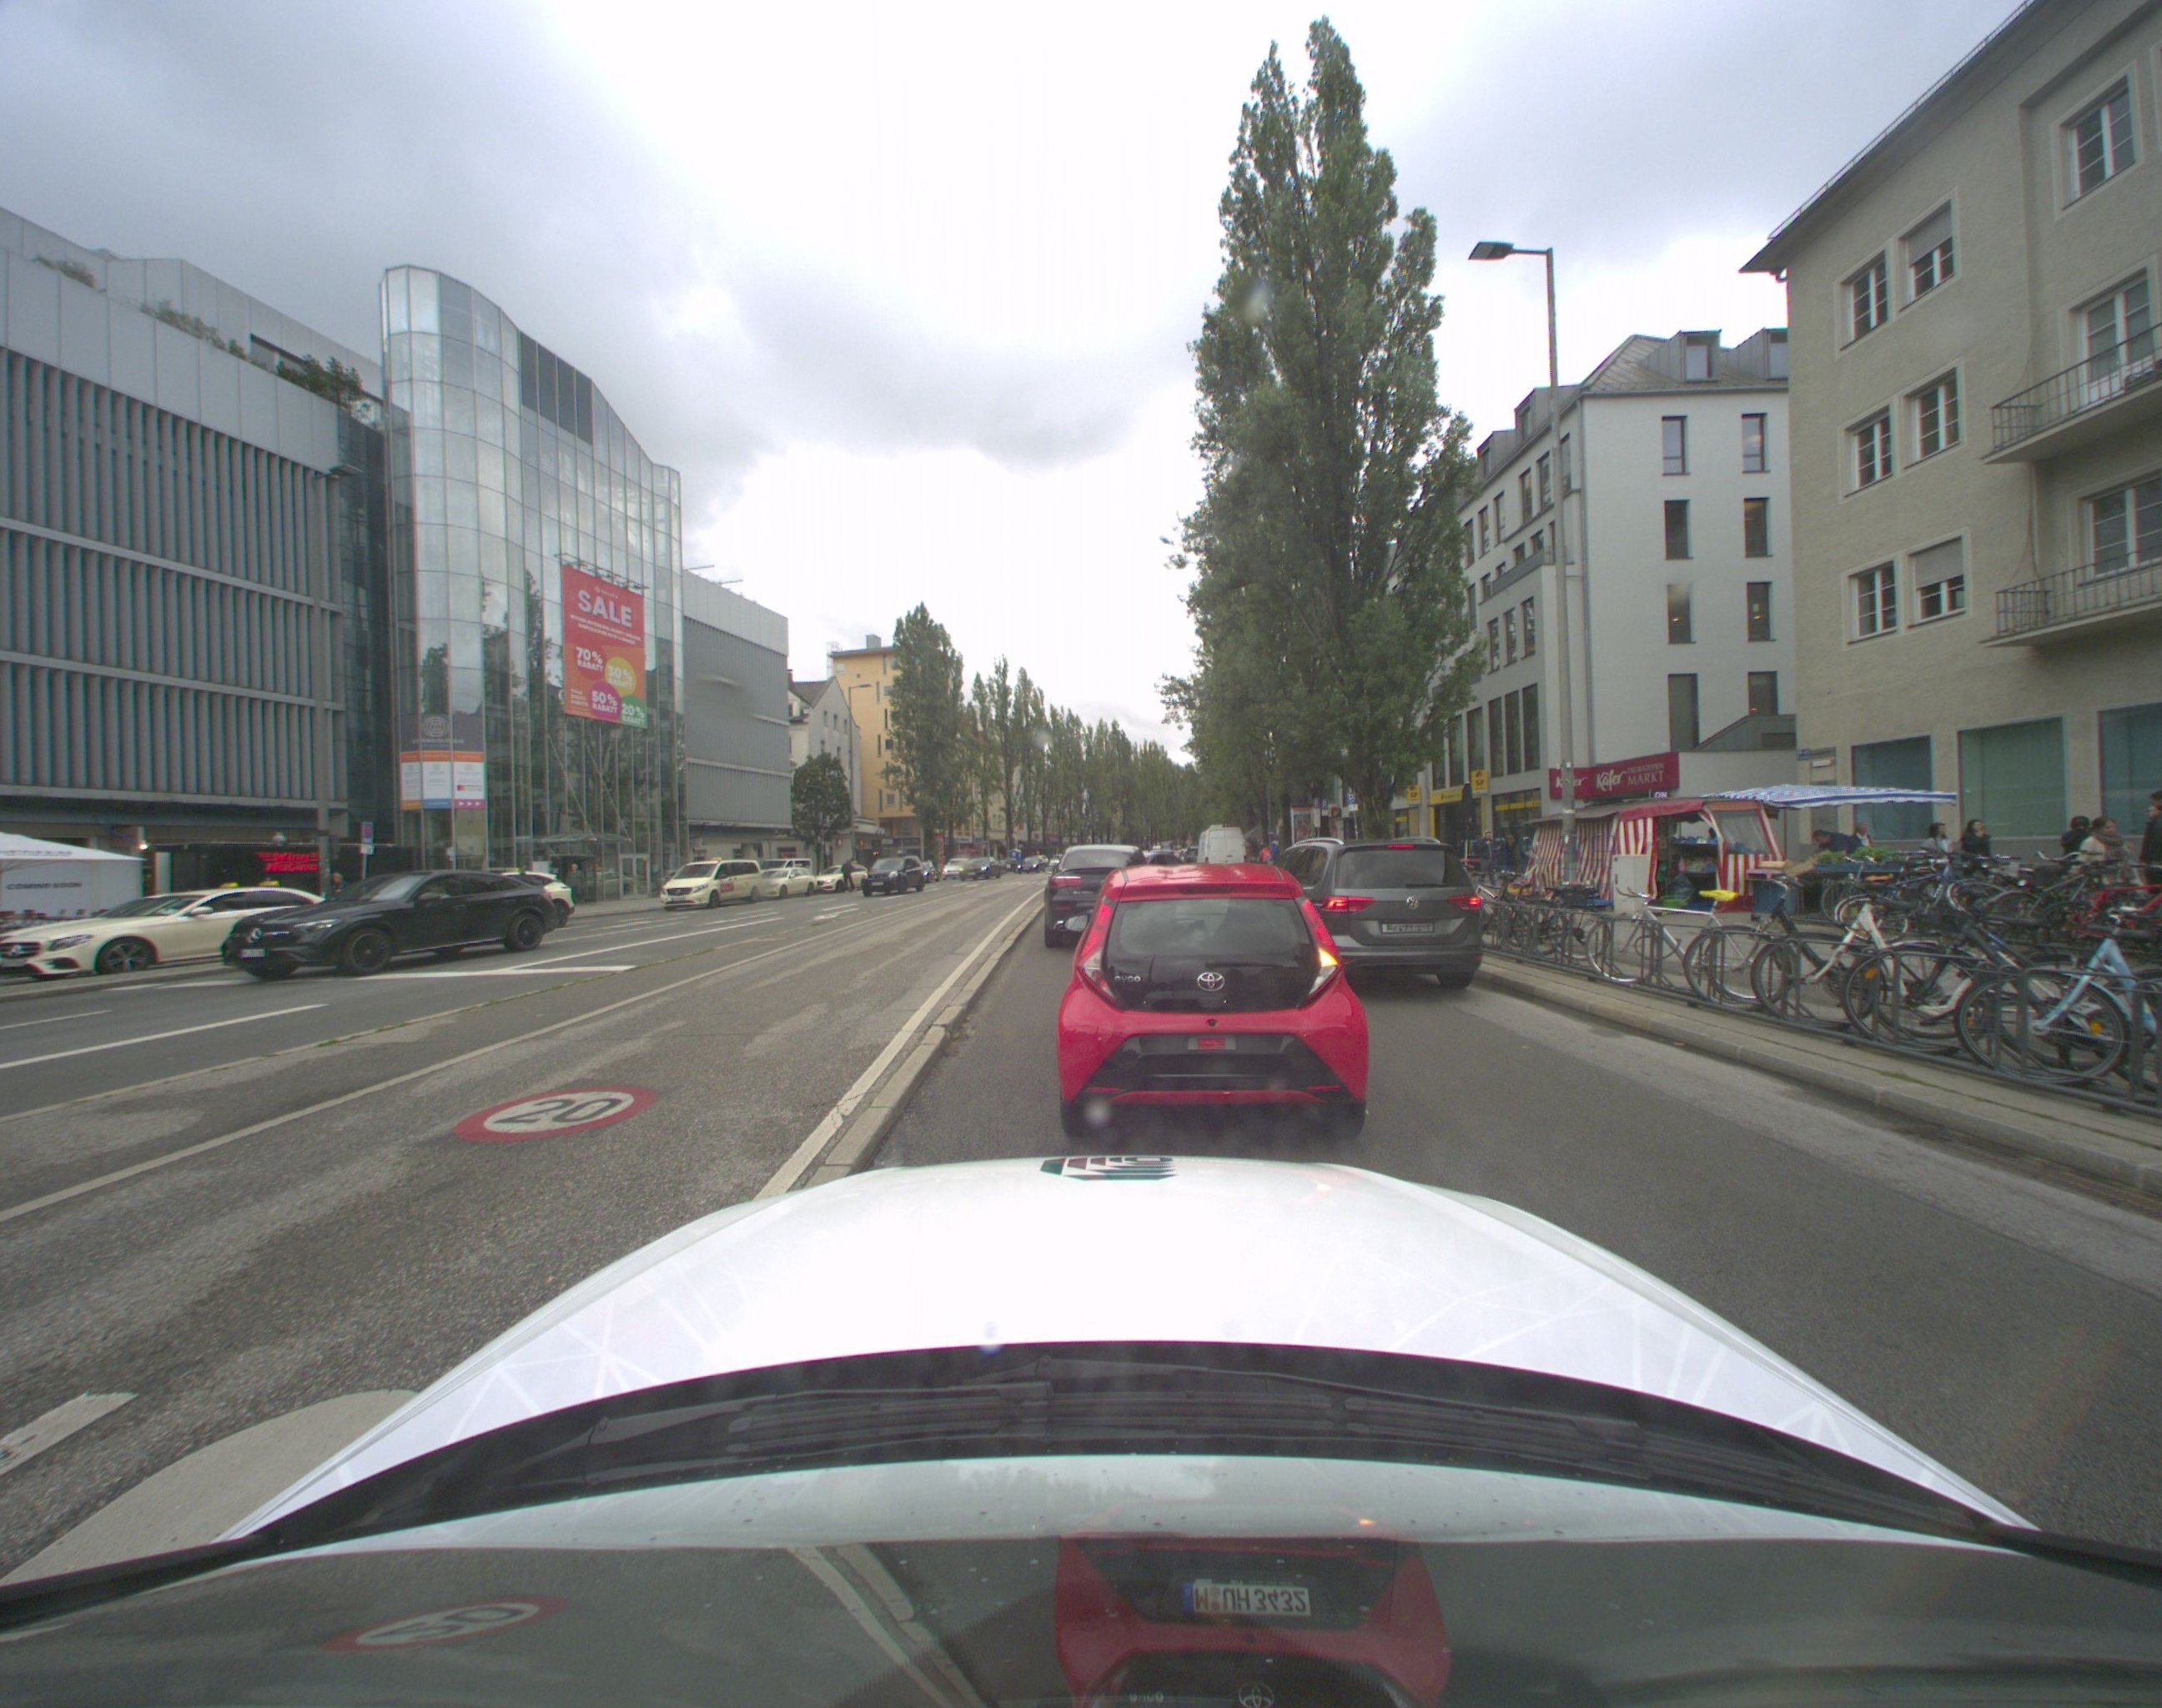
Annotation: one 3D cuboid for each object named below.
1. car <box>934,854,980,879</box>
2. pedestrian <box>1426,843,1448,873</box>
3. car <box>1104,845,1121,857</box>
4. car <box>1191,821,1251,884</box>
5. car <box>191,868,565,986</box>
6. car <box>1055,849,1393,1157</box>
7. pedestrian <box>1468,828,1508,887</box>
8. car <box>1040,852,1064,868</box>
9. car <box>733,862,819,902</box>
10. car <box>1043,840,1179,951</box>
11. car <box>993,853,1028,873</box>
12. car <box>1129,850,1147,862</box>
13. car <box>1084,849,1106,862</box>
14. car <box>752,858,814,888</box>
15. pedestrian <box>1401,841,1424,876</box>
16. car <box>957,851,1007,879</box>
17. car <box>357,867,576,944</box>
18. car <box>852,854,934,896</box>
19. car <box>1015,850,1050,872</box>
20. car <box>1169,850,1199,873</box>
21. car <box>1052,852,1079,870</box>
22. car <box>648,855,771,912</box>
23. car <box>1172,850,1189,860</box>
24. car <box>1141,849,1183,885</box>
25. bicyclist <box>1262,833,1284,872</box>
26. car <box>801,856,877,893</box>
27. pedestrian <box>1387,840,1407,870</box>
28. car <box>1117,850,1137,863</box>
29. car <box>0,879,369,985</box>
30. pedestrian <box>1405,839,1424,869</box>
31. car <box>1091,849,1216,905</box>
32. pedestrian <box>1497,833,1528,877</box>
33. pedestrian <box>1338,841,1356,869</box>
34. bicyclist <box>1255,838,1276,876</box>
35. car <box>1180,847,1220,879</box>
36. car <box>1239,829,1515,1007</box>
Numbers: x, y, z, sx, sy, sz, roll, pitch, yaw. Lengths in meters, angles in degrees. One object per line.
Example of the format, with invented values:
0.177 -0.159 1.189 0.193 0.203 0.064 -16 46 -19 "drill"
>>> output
-9.273 0.882 61.255 1.982 1.691 4.932 -2 0 8 "car"
16.104 0.191 36.861 0.636 1.306 0.676 -2 0 1 "pedestrian"
5.322 -0.445 135.561 1.979 1.933 4.430 -2 0 13 "car"
6.591 -0.083 38.811 2.099 2.718 4.806 -2 0 2 "car"
-11.569 1.099 13.964 1.981 1.534 4.600 -2 0 9 "car"
0.731 0.705 5.448 1.599 1.461 3.131 0 0 2 "car"
12.421 0.099 24.884 0.788 1.727 0.764 -2 0 1 "pedestrian"
-3.309 0.666 94.026 1.982 1.691 4.932 -2 0 8 "car"
-14.284 1.261 38.431 1.984 1.655 4.540 -2 0 5 "car"
0.463 0.596 13.923 1.987 1.618 4.000 0 0 0 "car"
-6.621 0.847 76.692 1.981 1.691 4.935 -2 0 10 "car"
8.819 0.319 125.308 1.979 1.691 4.430 -2 0 13 "car"
1.965 0.212 111.719 1.979 1.691 4.430 -2 0 13 "car"
-19.373 1.228 53.185 1.858 1.772 4.253 -2 0 10 "car"
15.144 0.185 37.222 0.710 1.558 0.676 -2 0 1 "pedestrian"
-6.404 0.666 53.447 1.982 1.691 4.932 -2 0 8 "car"
-15.801 1.256 21.272 1.979 1.679 4.199 -2 0 13 "car"
-8.299 0.876 36.384 1.983 1.691 4.930 -2 0 6 "car"
-4.134 0.558 69.778 1.982 1.691 4.932 -2 0 8 "car"
7.172 0.513 56.831 1.697 1.529 3.557 -1 0 1 "car"
-1.565 0.655 83.313 1.982 1.691 4.932 -2 0 8 "car"
-14.812 1.091 32.908 1.984 2.013 5.531 -2 0 5 "car"
14.336 0.138 116.848 1.759 1.439 3.956 -2 0 17 "car"
3.838 0.587 39.151 1.697 1.589 3.557 -1 0 1 "car"
9.461 -0.061 40.143 0.759 1.869 1.133 -2 0 1 "bicyclist"
-13.042 1.061 44.217 1.980 1.816 4.547 -2 0 11 "car"
14.359 0.052 36.986 0.636 1.306 0.676 -2 0 1 "pedestrian"
6.629 0.318 117.164 1.979 1.691 4.430 -2 0 13 "car"
-16.795 1.345 15.477 1.981 1.508 4.648 -2 0 10 "car"
17.590 0.012 42.960 0.710 1.558 0.676 -2 0 1 "pedestrian"
2.194 0.627 23.766 1.901 1.486 3.943 -2 -1 34 "car"
16.434 0.034 31.034 0.730 1.602 0.742 -2 0 1 "pedestrian"
15.444 0.038 47.271 0.761 1.594 0.676 -2 0 1 "pedestrian"
8.331 0.133 36.788 0.611 1.657 1.251 -2 0 2 "bicyclist"
6.548 0.450 45.102 1.697 1.662 3.557 -1 0 1 "car"
3.237 0.592 10.004 1.765 1.647 4.709 -1 0 1 "car"
